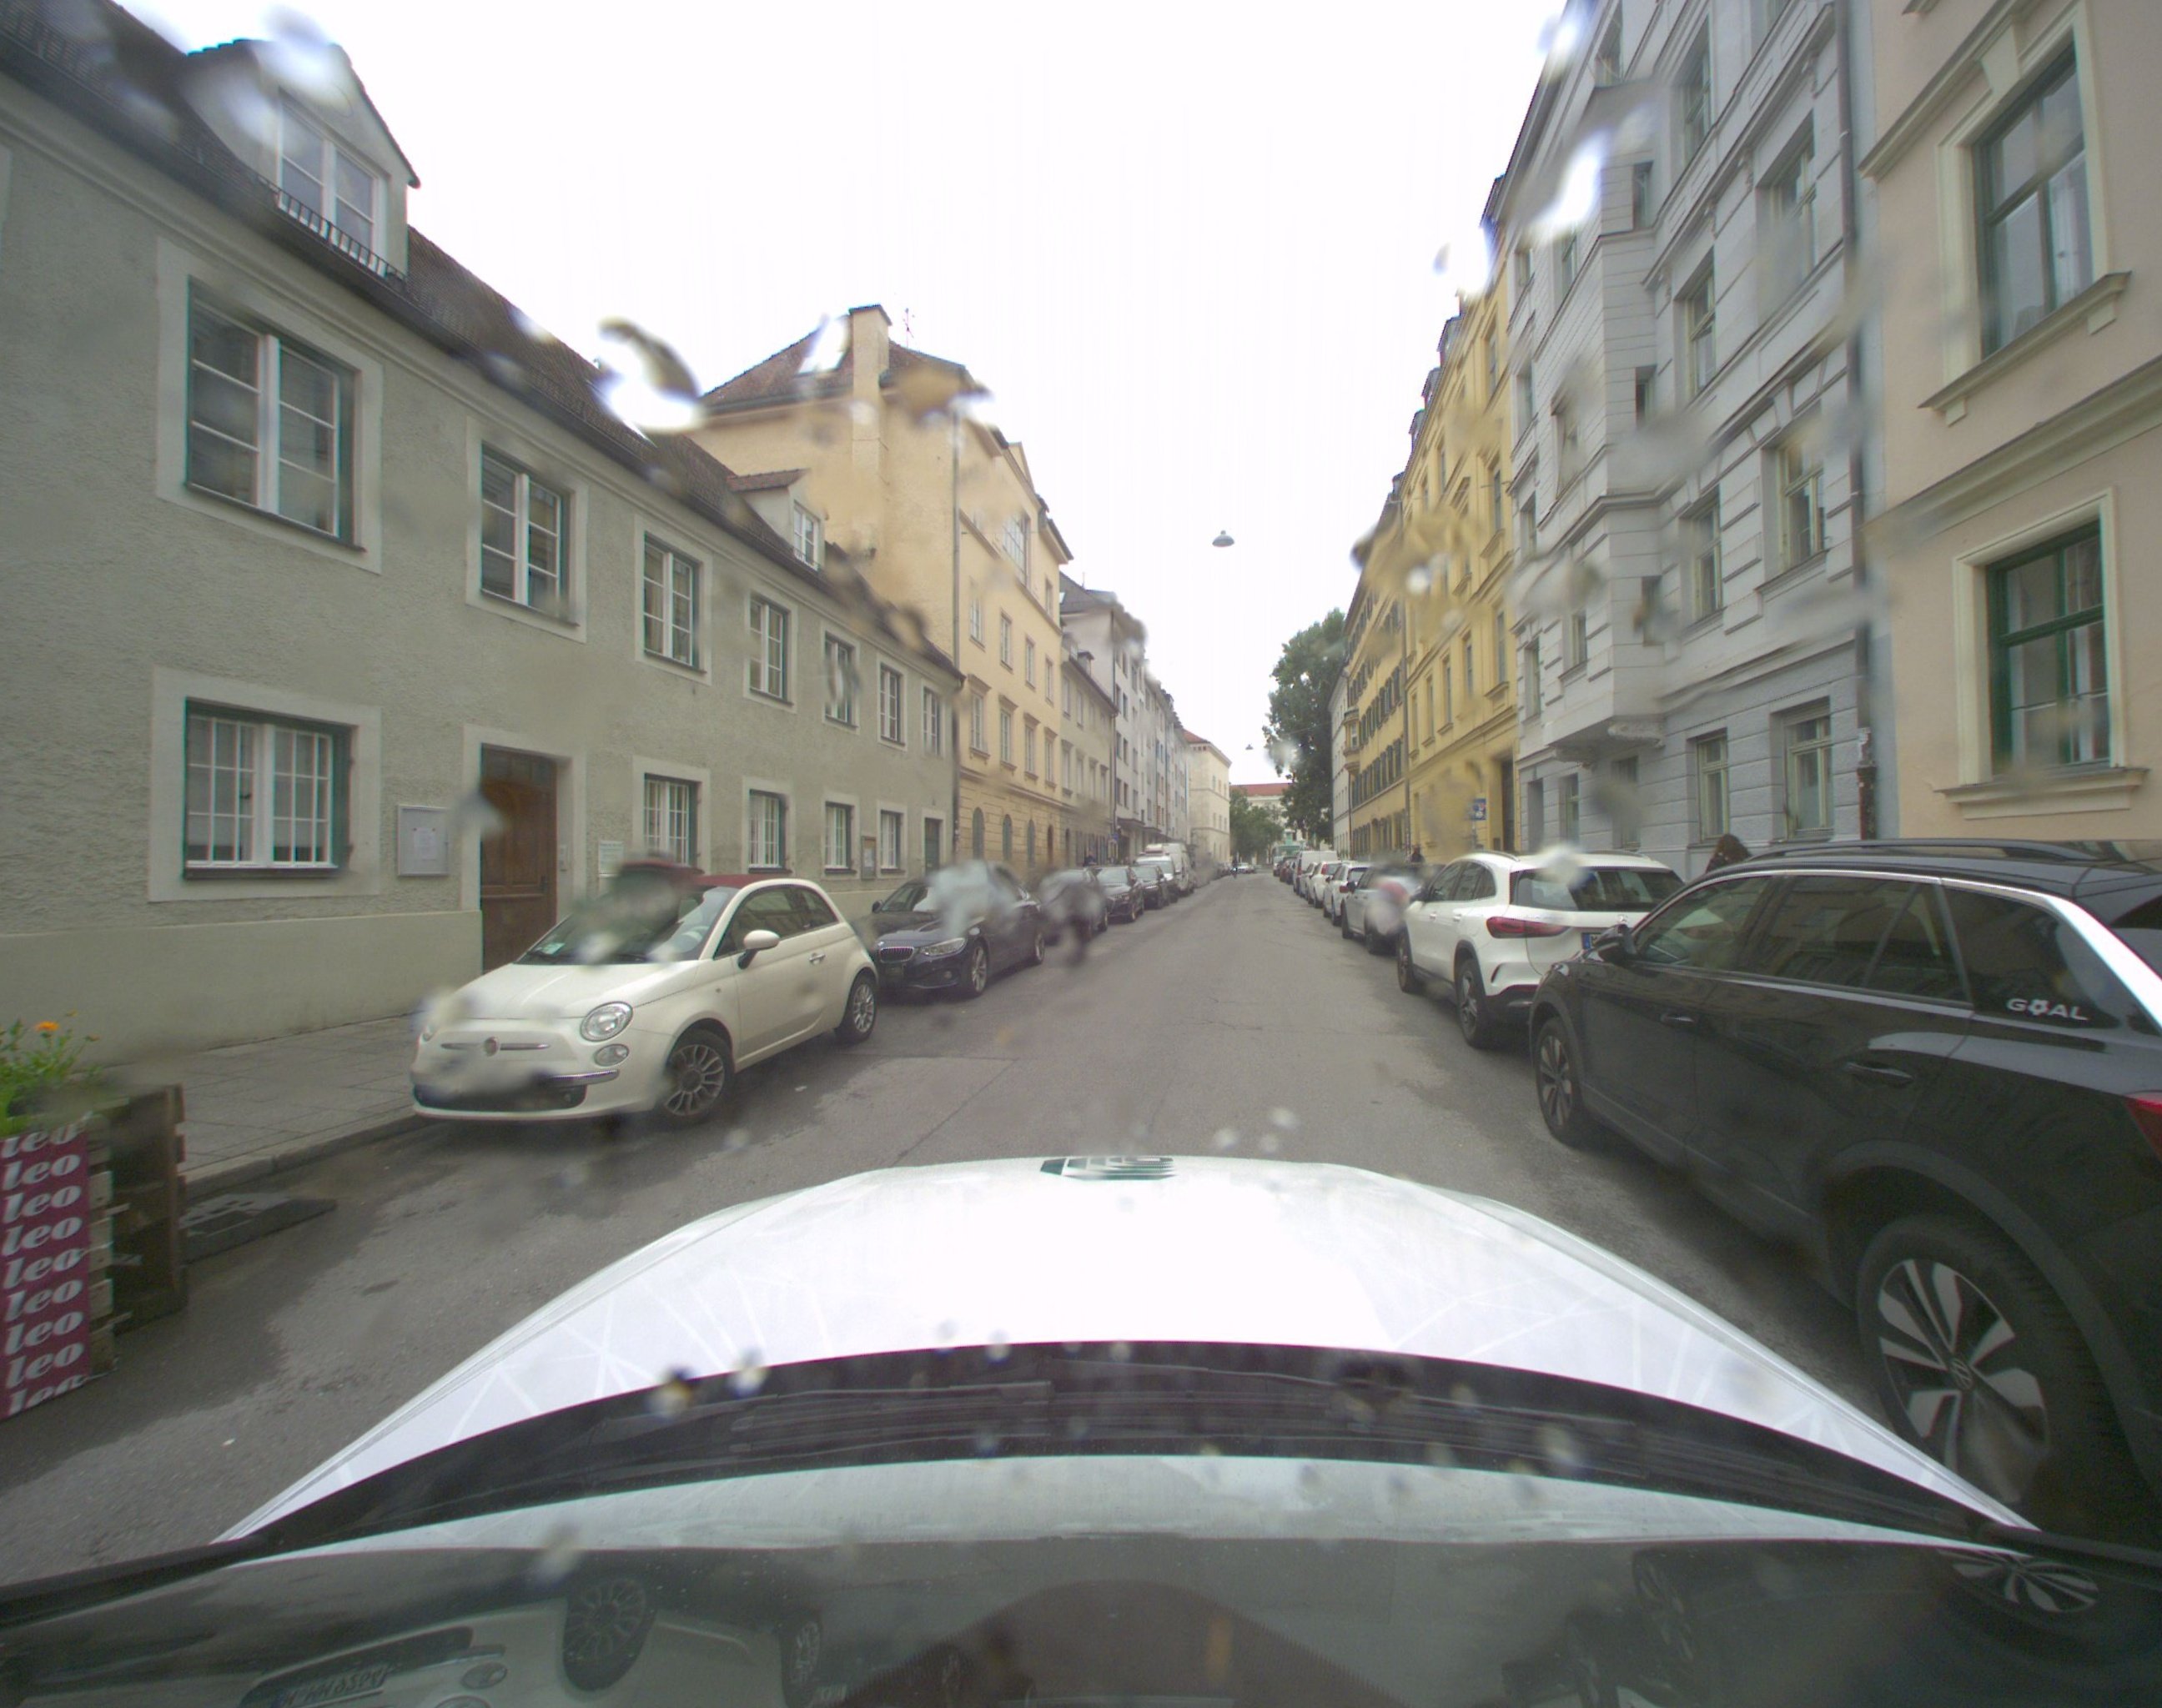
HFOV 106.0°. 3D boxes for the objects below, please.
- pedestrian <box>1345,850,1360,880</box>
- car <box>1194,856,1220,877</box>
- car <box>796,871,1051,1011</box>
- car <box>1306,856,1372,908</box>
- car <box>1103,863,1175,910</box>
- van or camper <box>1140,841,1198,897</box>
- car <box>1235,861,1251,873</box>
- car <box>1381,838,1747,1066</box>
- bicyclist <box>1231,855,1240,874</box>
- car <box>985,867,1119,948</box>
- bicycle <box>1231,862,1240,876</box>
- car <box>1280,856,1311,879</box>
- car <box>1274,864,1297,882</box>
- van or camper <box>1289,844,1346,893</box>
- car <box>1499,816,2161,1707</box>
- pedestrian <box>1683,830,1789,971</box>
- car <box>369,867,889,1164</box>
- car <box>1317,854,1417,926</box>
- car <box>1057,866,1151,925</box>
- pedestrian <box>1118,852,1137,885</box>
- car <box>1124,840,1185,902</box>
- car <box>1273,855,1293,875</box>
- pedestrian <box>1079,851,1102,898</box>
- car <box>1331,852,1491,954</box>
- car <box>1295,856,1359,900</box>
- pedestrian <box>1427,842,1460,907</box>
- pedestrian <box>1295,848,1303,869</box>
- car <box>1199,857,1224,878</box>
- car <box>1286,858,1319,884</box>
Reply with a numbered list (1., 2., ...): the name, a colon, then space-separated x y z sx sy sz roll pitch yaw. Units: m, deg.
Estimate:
1. pedestrian: 15.774 0.633 47.307 0.593 1.639 0.899 -4 -1 10
2. car: 10.084 0.951 64.982 1.761 1.539 4.172 -3 -1 12
3. car: -1.777 0.962 10.756 1.845 1.401 4.282 -1 -1 11
4. car: 8.202 0.846 26.179 1.613 1.510 3.773 -1 -1 12
5. car: 1.993 1.005 26.757 1.845 1.401 4.282 -1 -1 11
6. van or camper: 4.091 0.645 37.009 1.980 2.311 5.496 -1 -1 12
7. car: 22.235 1.789 111.617 1.764 1.535 4.229 -3 -2 17
8. car: 4.239 0.725 8.013 1.706 1.601 4.336 -1 -1 11
9. bicyclist: 12.824 0.872 67.510 0.682 1.627 0.855 -1 -1 11
10. car: -0.444 1.003 16.896 1.845 1.401 4.282 -1 -1 11
11. bicycle: 12.782 1.255 67.428 0.727 1.151 2.006 -1 -1 11
12. car: 14.651 0.919 55.803 1.702 1.424 4.471 -1 -1 11
13. car: 19.081 1.773 76.055 1.796 1.600 4.227 0 -1 11
14. van or camper: 10.401 0.617 36.136 1.980 2.014 5.249 -1 -1 11
15. car: 3.050 0.709 2.980 1.705 1.566 4.157 -1 -1 13
16. pedestrian: 7.720 0.533 9.623 0.642 1.575 0.625 -4 -1 4
17. car: -2.858 0.873 6.057 1.559 1.514 3.433 -1 -1 9
18. car: 6.769 0.790 19.689 1.705 1.510 4.484 -1 -1 12
19. car: 0.725 1.036 21.829 1.845 1.401 4.282 -1 -1 11
20. pedestrian: 2.496 0.783 43.359 0.800 1.712 1.025 -1 -1 14
21. car: 2.952 0.638 31.666 1.845 2.201 4.575 -1 -1 11
22. car: 20.348 1.097 82.075 1.868 1.924 4.893 -1 -1 15
23. pedestrian: 0.415 0.893 35.728 0.800 2.014 0.753 -1 -1 13
24. car: 5.556 0.766 14.227 1.707 1.510 3.946 -1 -1 9
25. car: 9.256 0.879 30.943 1.804 1.510 4.601 -1 -1 10
26. pedestrian: 10.703 0.598 24.089 0.697 1.862 0.807 -1 -1 10
27. pedestrian: 22.858 0.460 85.512 0.788 2.197 0.816 -1 -1 12
28. car: 11.340 1.156 70.413 1.860 1.688 4.535 -3 -1 12
29. car: 13.624 1.013 50.205 1.734 1.464 4.014 -1 -1 12
